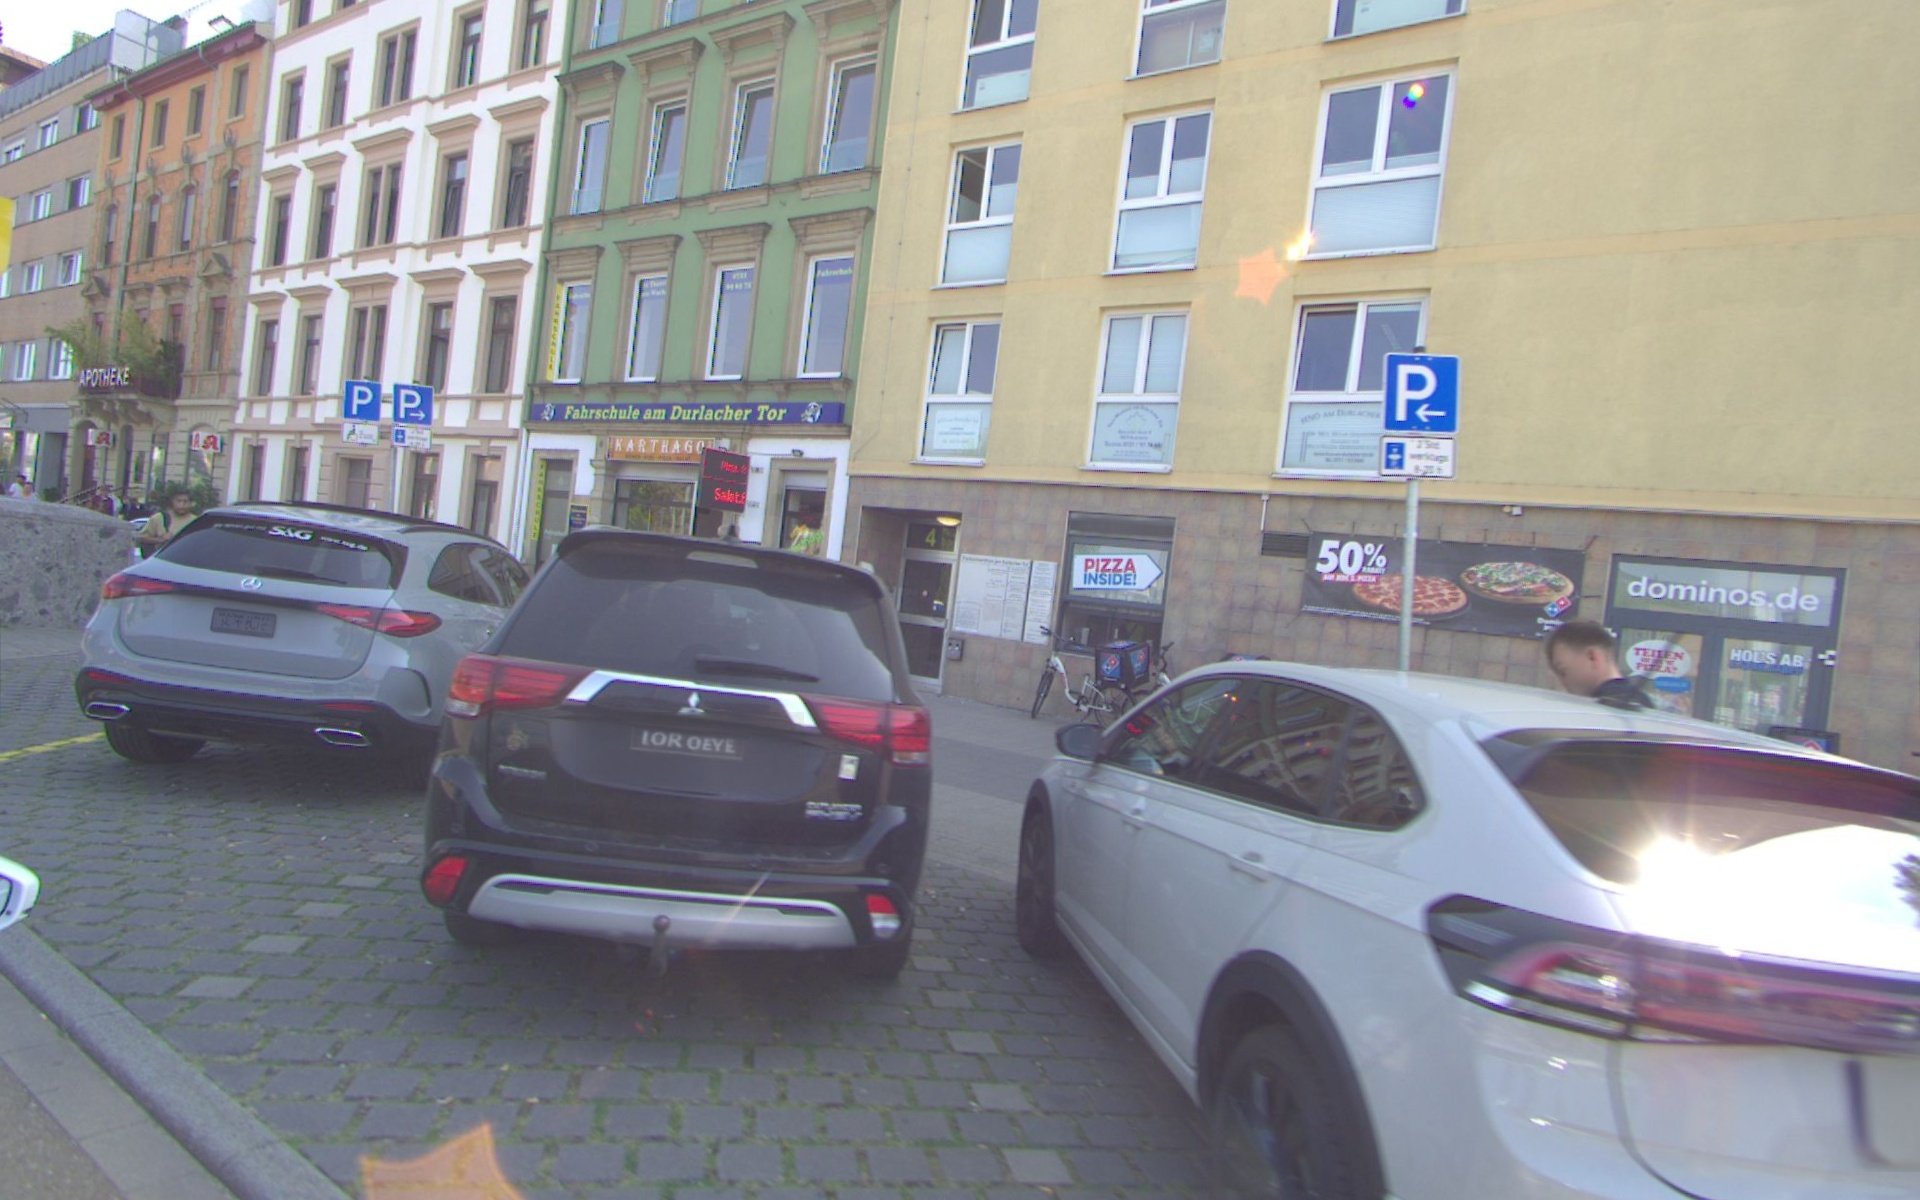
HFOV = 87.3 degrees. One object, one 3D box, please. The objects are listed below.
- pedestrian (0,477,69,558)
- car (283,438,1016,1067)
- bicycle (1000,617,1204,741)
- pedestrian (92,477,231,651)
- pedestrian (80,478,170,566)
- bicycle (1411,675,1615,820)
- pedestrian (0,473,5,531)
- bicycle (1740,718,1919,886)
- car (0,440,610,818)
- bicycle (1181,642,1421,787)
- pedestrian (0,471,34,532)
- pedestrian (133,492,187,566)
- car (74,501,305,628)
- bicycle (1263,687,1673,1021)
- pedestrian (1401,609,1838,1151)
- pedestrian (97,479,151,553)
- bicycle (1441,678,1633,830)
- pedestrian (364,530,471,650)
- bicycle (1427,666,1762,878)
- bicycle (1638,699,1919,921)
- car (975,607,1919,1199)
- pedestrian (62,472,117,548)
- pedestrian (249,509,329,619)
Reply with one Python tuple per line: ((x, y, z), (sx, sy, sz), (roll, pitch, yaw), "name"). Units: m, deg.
((-20.137, -1.781, 21.697), (0.953, 1.601, 0.852), (6, 1, -1), "pedestrian")
((-1.205, 0.477, 5.177), (1.953, 1.708, 4.385), (7, 0, -9), "car")
((1.842, 1.003, 13.269), (2.384, 1.254, 0.939), (7, 1, 36), "bicycle")
((-9.052, -0.401, 11.462), (0.859, 1.771, 0.866), (10, -1, -28), "pedestrian")
((-16.868, -1.551, 20.342), (0.953, 1.601, 0.852), (6, 1, -1), "pedestrian")
((6.032, 1.578, 11.050), (1.796, 1.254, 0.409), (7, 1, 30), "bicycle")
((-30.064, -3.077, 31.121), (0.668, 1.774, 0.577), (7, 3, 33), "pedestrian")
((8.482, 1.875, 9.204), (1.928, 1.262, 0.728), (7, 1, 32), "bicycle")
((-4.199, 0.148, 7.524), (2.009, 1.735, 4.657), (7, 0, -9), "car")
((3.960, 1.289, 11.802), (2.384, 1.254, 0.939), (7, 1, 36), "bicycle")
((-29.725, -3.112, 31.654), (0.865, 1.819, 0.599), (7, 3, 33), "pedestrian")
((-21.653, -1.920, 27.240), (0.674, 1.870, 0.842), (7, 3, 24), "pedestrian")
((-11.883, -0.561, 15.479), (3.560, 1.458, 1.632), (8, 1, 33), "car")
((2.611, 1.227, 5.313), (1.763, 1.312, 0.473), (6, 1, 35), "bicycle")
((2.473, 0.967, 3.960), (0.887, 1.724, 1.039), (7, 0, 6), "pedestrian")
((-22.087, -2.223, 26.584), (1.001, 1.796, 0.684), (8, 2, 32), "pedestrian")
((5.873, 1.543, 10.337), (0.584, 1.254, 1.536), (6, 1, -24), "bicycle")
((-7.926, -0.142, 14.729), (0.953, 1.601, 0.852), (6, 1, -1), "pedestrian")
((6.024, 1.535, 9.992), (0.888, 1.422, 3.361), (7, 0, -3), "bicycle")
((7.906, 1.836, 9.144), (0.888, 1.422, 3.361), (7, 0, -3), "bicycle")
((1.317, 0.923, 3.347), (1.777, 1.517, 3.782), (9, -2, -8), "car")
((-22.445, -2.325, 25.931), (1.001, 1.796, 0.684), (8, 2, 32), "pedestrian")
((-11.175, -0.592, 16.755), (0.927, 1.707, 0.671), (7, 2, 33), "pedestrian")
